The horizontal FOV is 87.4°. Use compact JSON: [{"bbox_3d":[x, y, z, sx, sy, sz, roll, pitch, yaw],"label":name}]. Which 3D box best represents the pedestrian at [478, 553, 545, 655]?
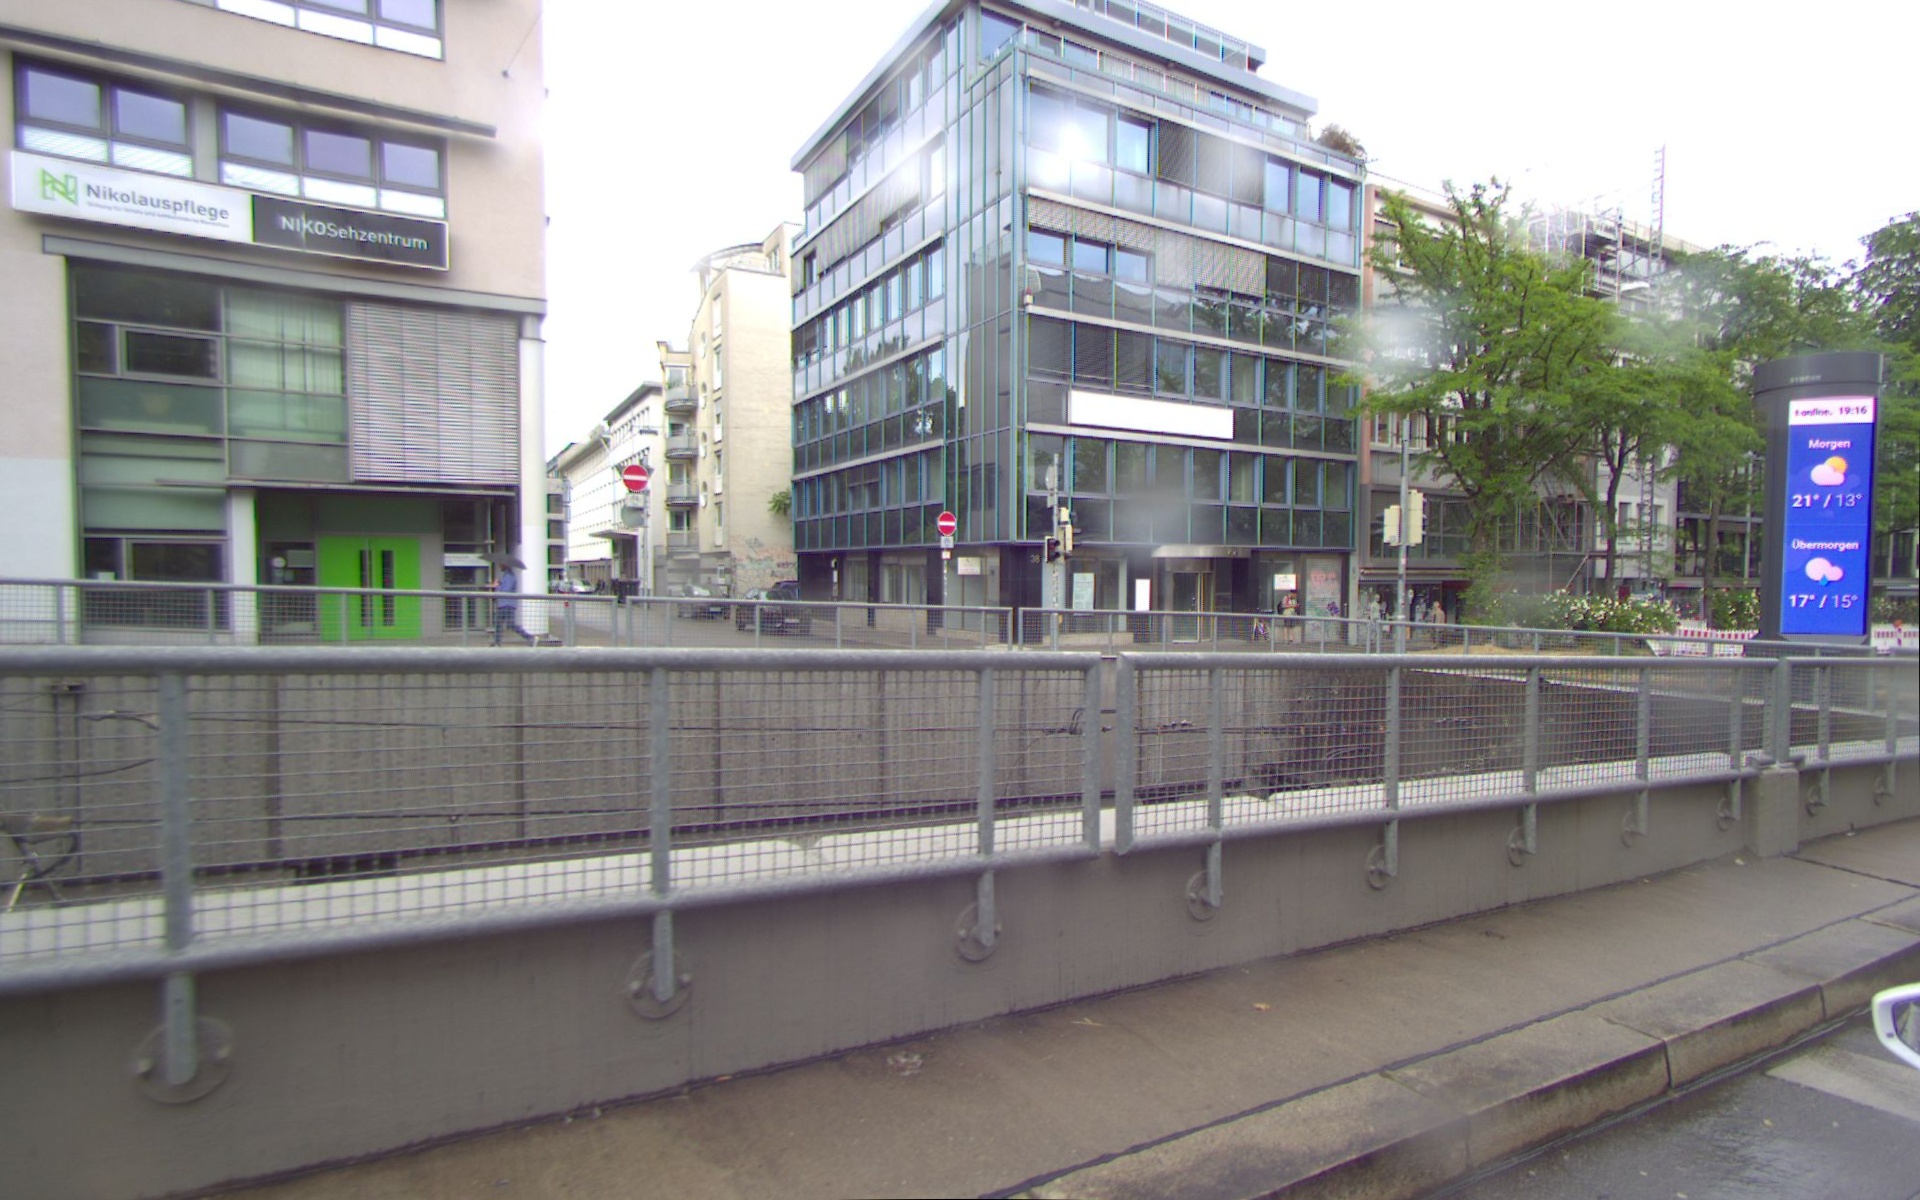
[{"bbox_3d":[-8.456,0.070,18.915,1.047,1.863,0.853,1,2,-30],"label":"pedestrian"}]

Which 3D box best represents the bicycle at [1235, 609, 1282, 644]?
[{"bbox_3d":[9.704,0.874,32.619,1.544,1.100,0.444,1,1,-27],"label":"bicycle"}]

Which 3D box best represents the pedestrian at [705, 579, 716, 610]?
[{"bbox_3d":[-13.391,-0.287,53.860,0.443,1.664,0.326,1,2,-35],"label":"pedestrian"}]

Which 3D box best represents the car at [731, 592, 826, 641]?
[{"bbox_3d":[-6.405,0.538,35.070,1.977,1.578,3.966,1,0,-31],"label":"car"}]

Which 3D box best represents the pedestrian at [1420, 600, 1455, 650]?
[{"bbox_3d":[17.042,0.889,35.855,0.867,1.765,0.689,1,2,-32],"label":"pedestrian"}]

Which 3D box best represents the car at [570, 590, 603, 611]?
[{"bbox_3d":[-29.265,0.001,78.674,1.777,1.578,3.967,1,0,-30],"label":"car"}]

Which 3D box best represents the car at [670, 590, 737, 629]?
[{"bbox_3d":[-11.268,0.394,44.009,1.777,1.578,3.966,1,0,-31],"label":"car"}]

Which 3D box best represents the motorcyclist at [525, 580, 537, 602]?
[{"bbox_3d":[-37.881,-0.795,88.605,0.850,1.832,1.007,1,1,-29],"label":"motorcyclist"}]

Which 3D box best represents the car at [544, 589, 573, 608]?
[{"bbox_3d":[-34.830,-0.138,87.091,1.777,1.578,3.967,1,0,-30],"label":"car"}]

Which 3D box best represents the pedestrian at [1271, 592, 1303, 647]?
[{"bbox_3d":[10.784,0.650,33.127,0.688,1.765,0.691,1,2,-35],"label":"pedestrian"}]
